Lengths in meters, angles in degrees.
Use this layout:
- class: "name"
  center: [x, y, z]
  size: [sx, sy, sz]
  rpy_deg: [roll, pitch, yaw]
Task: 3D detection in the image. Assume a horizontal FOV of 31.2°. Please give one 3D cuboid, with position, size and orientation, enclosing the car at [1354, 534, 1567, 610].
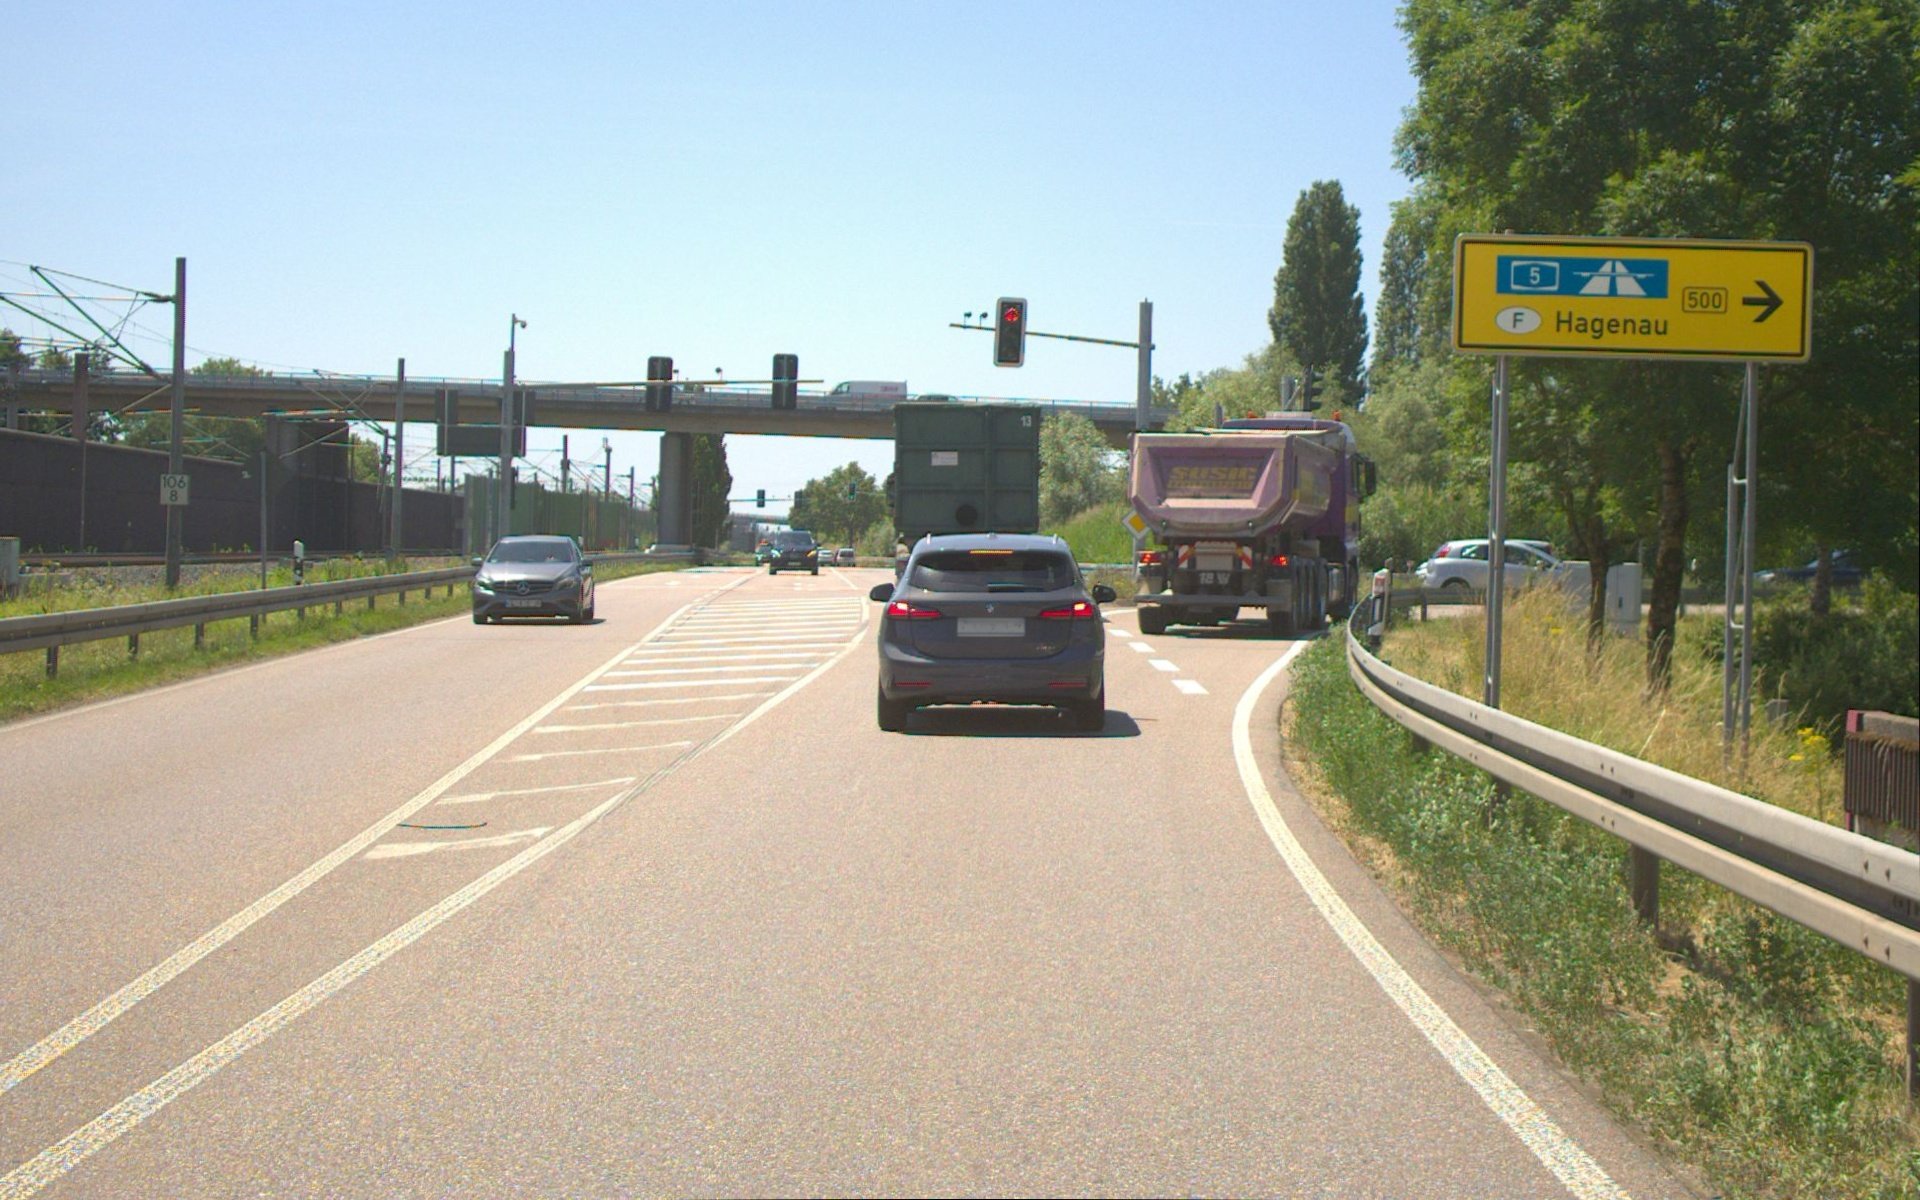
- class: "car"
  center: [11.292, -0.639, 77.772]
  size: [4.649, 1.626, 1.933]
  rpy_deg: [1, 1, 5]

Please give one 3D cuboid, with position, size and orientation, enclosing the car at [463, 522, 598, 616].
- class: "car"
  center: [-7.148, -0.540, 57.544]
  size: [1.864, 1.480, 4.888]
  rpy_deg: [1, 1, -3]

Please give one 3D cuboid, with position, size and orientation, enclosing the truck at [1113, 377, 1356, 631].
- class: "truck"
  center: [4.817, -1.552, 57.903]
  size: [2.835, 3.808, 11.880]
  rpy_deg: [1, 1, 10]

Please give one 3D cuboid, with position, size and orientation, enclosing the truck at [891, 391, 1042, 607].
- class: "truck"
  center: [0.049, -1.876, 64.644]
  size: [2.589, 3.724, 9.576]
  rpy_deg: [1, 1, -1]

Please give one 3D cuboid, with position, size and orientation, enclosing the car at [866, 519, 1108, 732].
- class: "car"
  center: [0.180, 0.156, 28.658]
  size: [1.844, 1.617, 4.226]
  rpy_deg: [1, 1, -1]

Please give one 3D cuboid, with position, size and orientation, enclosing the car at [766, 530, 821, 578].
- class: "car"
  center: [-6.643, -1.850, 137.196]
  size: [1.927, 1.761, 4.598]
  rpy_deg: [2, 2, 0]

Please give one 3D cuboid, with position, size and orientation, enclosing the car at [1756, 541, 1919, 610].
- class: "car"
  center: [22.123, -0.603, 83.925]
  size: [4.925, 1.626, 1.934]
  rpy_deg: [1, 1, 1]

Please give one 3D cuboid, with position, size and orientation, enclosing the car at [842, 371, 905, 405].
- class: "car"
  center: [-5.491, -13.445, 218.122]
  size: [3.986, 2.007, 2.000]
  rpy_deg: [1, 1, -2]
